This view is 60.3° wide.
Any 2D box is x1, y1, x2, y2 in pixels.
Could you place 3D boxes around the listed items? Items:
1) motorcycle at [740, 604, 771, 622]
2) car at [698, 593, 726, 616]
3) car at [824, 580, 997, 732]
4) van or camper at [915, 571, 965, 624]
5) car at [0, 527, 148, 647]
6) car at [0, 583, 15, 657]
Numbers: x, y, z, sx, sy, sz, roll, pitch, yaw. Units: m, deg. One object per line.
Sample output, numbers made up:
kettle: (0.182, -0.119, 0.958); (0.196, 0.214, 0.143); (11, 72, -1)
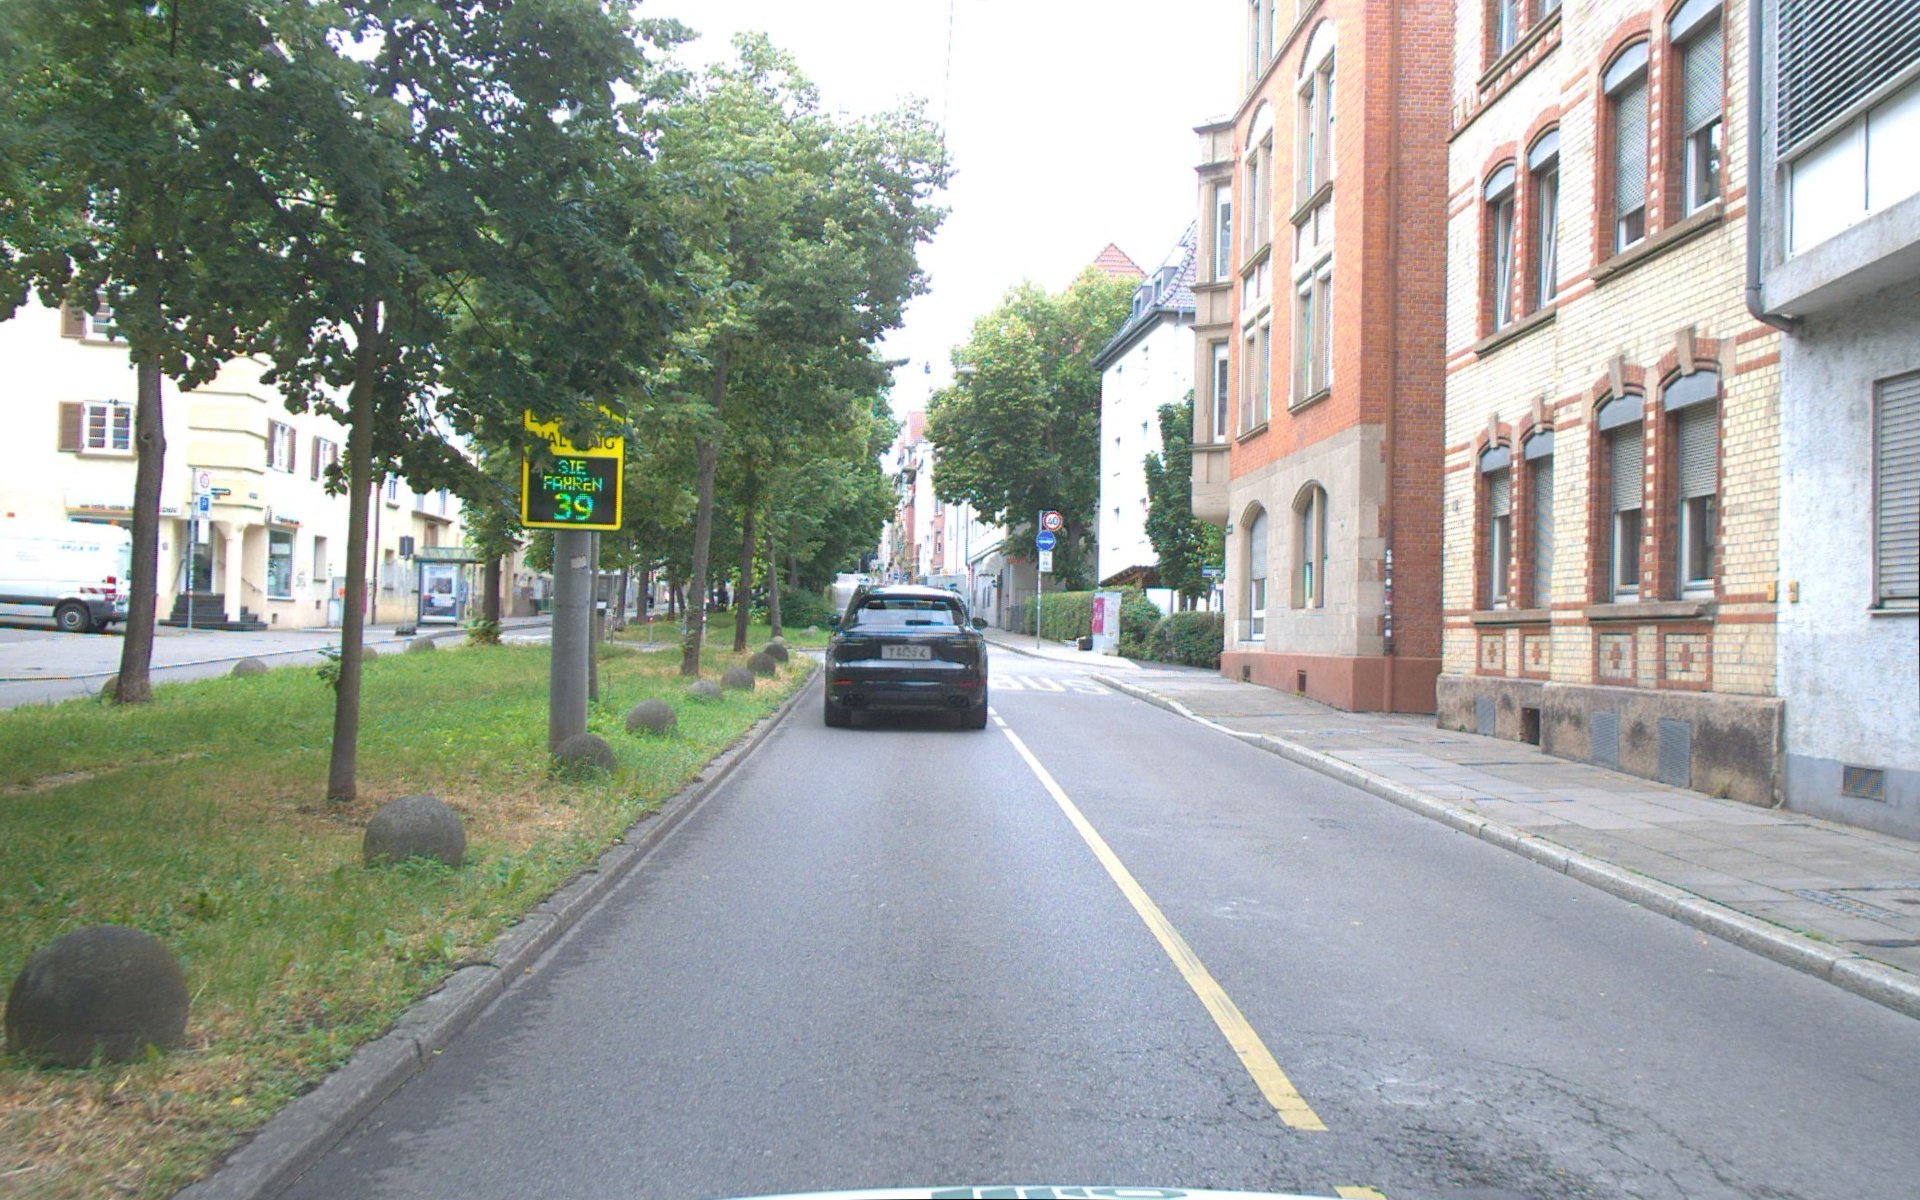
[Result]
motorcycle: (-16.094, 1.025, 130.149); (2.336, 1.340, 1.044); (1, 0, -6)
car: (-20.955, 0.385, 139.895); (1.912, 1.656, 4.359); (-6, 0, -5)
car: (-0.721, 0.653, 20.831); (1.866, 1.695, 4.130); (1, -1, -6)
van or camper: (-1.213, -0.092, 94.049); (2.431, 2.852, 7.232); (1, -1, -4)
car: (-22.986, -0.341, 40.474); (5.082, 2.784, 2.170); (2, -1, -12)
car: (-20.940, 0.275, 31.853); (4.202, 1.444, 2.047); (4, 0, -2)
